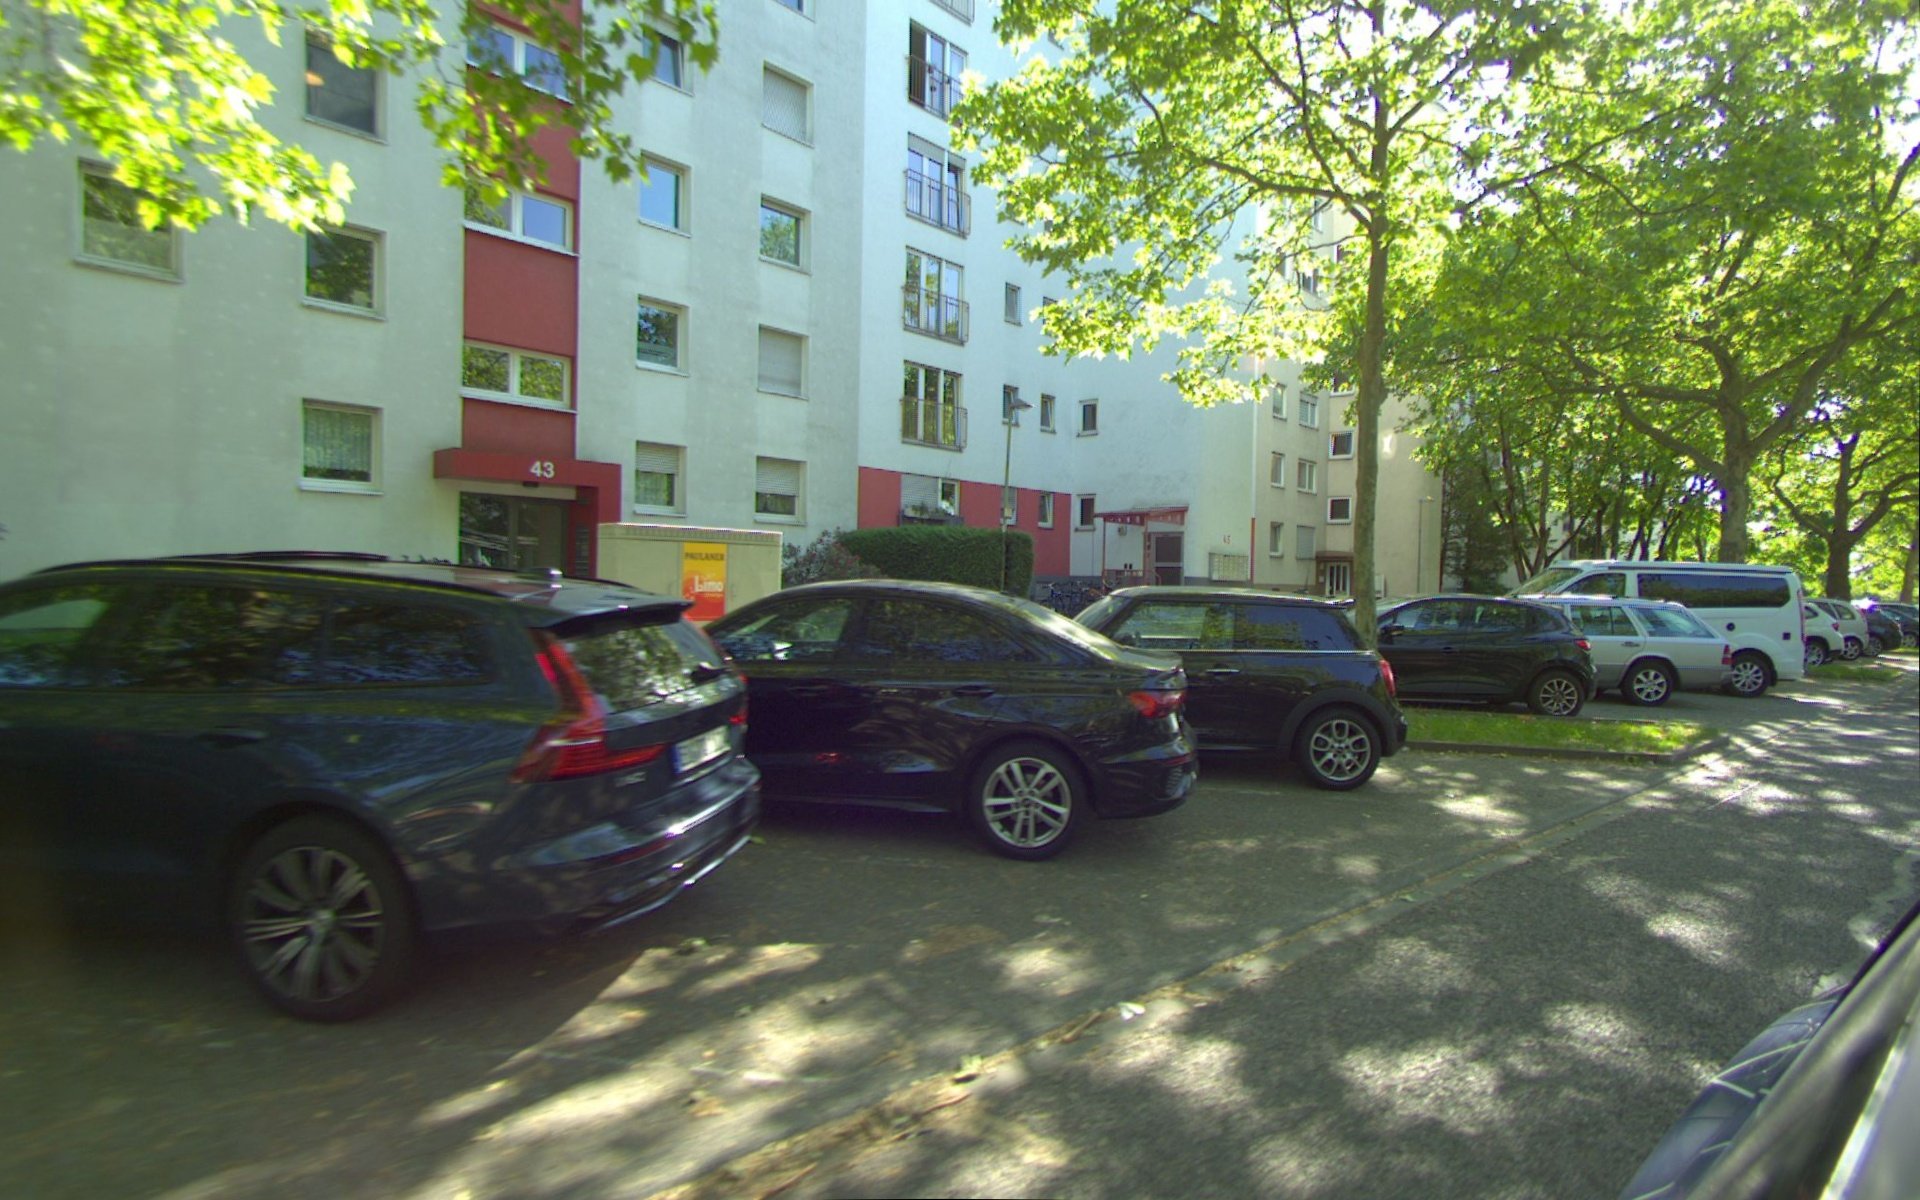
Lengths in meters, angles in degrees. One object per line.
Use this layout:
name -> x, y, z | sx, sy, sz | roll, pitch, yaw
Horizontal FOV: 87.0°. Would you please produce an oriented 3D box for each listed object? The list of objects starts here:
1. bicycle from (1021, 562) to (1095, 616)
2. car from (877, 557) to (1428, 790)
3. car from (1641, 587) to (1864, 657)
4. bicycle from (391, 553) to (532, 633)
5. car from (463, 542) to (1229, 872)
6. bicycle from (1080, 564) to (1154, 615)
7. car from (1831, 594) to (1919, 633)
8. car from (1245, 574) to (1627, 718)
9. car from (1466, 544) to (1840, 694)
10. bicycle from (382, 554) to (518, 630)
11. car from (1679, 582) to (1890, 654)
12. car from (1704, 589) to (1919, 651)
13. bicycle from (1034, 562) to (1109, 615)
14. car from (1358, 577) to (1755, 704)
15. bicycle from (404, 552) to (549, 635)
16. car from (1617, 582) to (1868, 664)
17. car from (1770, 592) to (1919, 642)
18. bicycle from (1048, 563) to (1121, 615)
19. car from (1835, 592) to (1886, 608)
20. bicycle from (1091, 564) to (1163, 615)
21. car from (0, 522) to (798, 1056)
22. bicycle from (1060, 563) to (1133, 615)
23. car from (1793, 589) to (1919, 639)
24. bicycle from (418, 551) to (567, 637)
bicycle -> 2.299, -0.275, 23.947 | 1.796, 1.143, 0.492 | 6, 4, 44
car -> 1.441, 0.480, 8.354 | 3.931, 1.485, 1.780 | 3, 2, 6
car -> 19.672, 0.509, 25.260 | 3.928, 1.436, 1.831 | 3, 3, 4
bicycle -> -7.361, -0.102, 14.986 | 1.769, 1.121, 0.591 | 0, 1, -42
car -> -0.618, 0.487, 6.313 | 4.187, 1.479, 1.796 | 3, 3, 9
bicycle -> 3.913, -0.270, 25.376 | 1.796, 1.143, 0.541 | 6, 4, 44
car -> 40.540, 0.595, 43.718 | 4.101, 1.529, 1.799 | 2, 2, 2
car -> 5.746, 0.495, 12.679 | 3.856, 1.434, 1.798 | 3, 3, 6
car -> 11.159, 0.226, 16.675 | 4.515, 2.077, 2.013 | 3, 2, 9
bicycle -> -7.834, -0.122, 15.591 | 1.769, 1.121, 0.591 | 0, 1, -42
car -> 22.050, 0.439, 27.205 | 3.932, 1.609, 1.798 | 3, 2, 7
car -> 24.605, 0.532, 29.363 | 4.338, 1.445, 1.947 | 3, 3, 10
bicycle -> 2.663, -0.283, 24.334 | 1.796, 1.143, 0.492 | 6, 4, 44
car -> 8.413, 0.511, 14.679 | 4.513, 1.441, 1.797 | 3, 3, 8
bicycle -> -6.898, -0.092, 14.500 | 1.769, 1.121, 0.591 | 0, 1, -42
car -> 17.669, 0.485, 23.002 | 4.134, 1.528, 1.800 | 3, 2, 2
car -> 30.079, 0.576, 33.737 | 4.508, 1.440, 1.799 | 3, 2, 4
bicycle -> 3.015, -0.285, 24.695 | 1.796, 1.143, 0.492 | 6, 4, 44
car -> 113.958, -0.013, 128.077 | 1.762, 1.858, 4.567 | 2, 1, -15
bicycle -> 4.239, -0.281, 25.808 | 1.796, 1.143, 0.492 | 6, 4, 44
car -> -2.987, 0.480, 4.235 | 4.187, 1.479, 1.796 | 3, 3, 9
bicycle -> 3.372, -0.286, 25.079 | 1.796, 1.143, 0.492 | 6, 4, 44
car -> 33.183, 0.519, 36.864 | 3.934, 1.595, 1.796 | 3, 2, 9
bicycle -> -6.432, -0.083, 13.975 | 1.769, 1.121, 0.591 | 0, 1, -42
